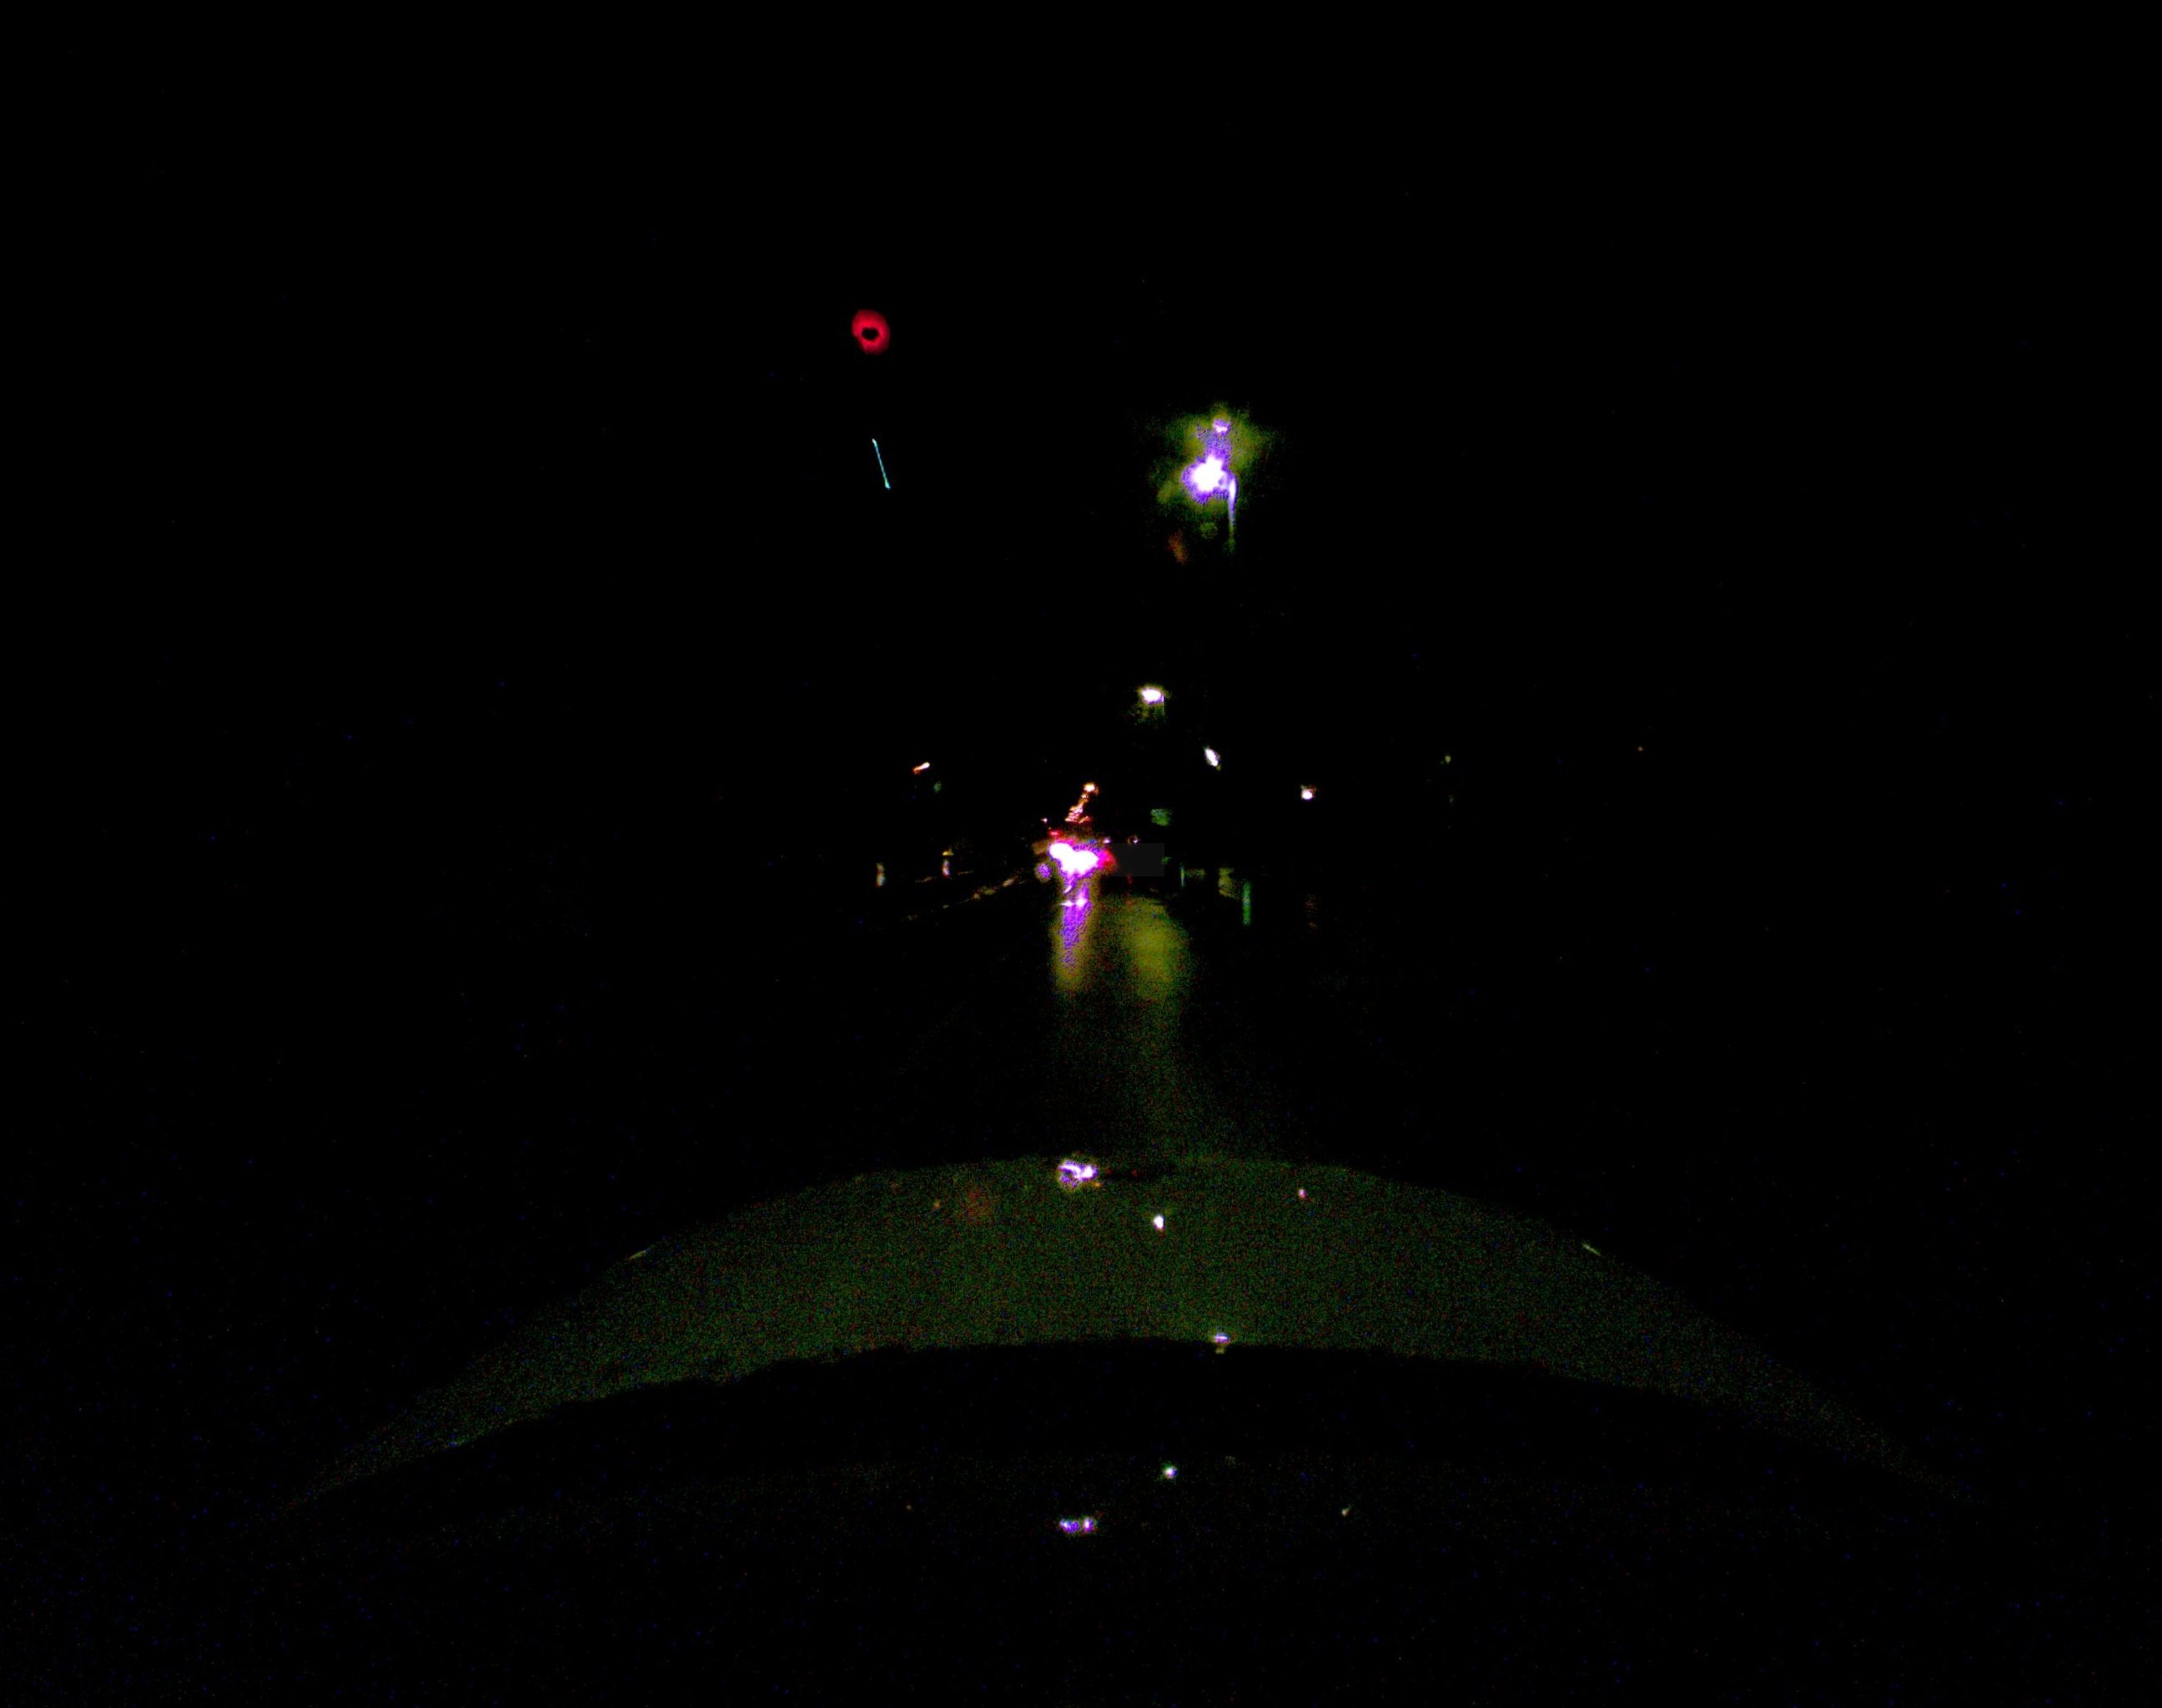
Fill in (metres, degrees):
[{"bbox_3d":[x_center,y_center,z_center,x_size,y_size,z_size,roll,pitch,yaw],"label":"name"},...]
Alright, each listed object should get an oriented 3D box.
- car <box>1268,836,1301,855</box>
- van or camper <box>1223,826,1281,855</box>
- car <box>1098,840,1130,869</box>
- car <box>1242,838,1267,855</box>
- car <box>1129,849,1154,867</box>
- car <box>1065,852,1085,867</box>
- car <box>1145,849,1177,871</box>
[{"bbox_3d":[18.080,-0.782,72.529,1.823,1.547,4.868,-2,1,1],"label":"car"},{"bbox_3d":[16.125,-1.290,76.901,5.042,2.527,2.173,-2,1,2],"label":"van or camper"},{"bbox_3d":[2.151,0.004,53.527,1.986,1.683,4.003,-2,2,2],"label":"car"},{"bbox_3d":[15.547,-0.670,73.004,1.557,1.469,3.409,-2,1,1],"label":"car"},{"bbox_3d":[5.405,0.305,73.064,1.708,1.488,4.434,-3,0,-1],"label":"car"},{"bbox_3d":[-0.607,0.513,82.172,1.738,1.433,4.003,-3,0,3],"label":"car"},{"bbox_3d":[6.084,0.452,62.112,1.785,1.449,4.788,-4,1,-1],"label":"car"}]
